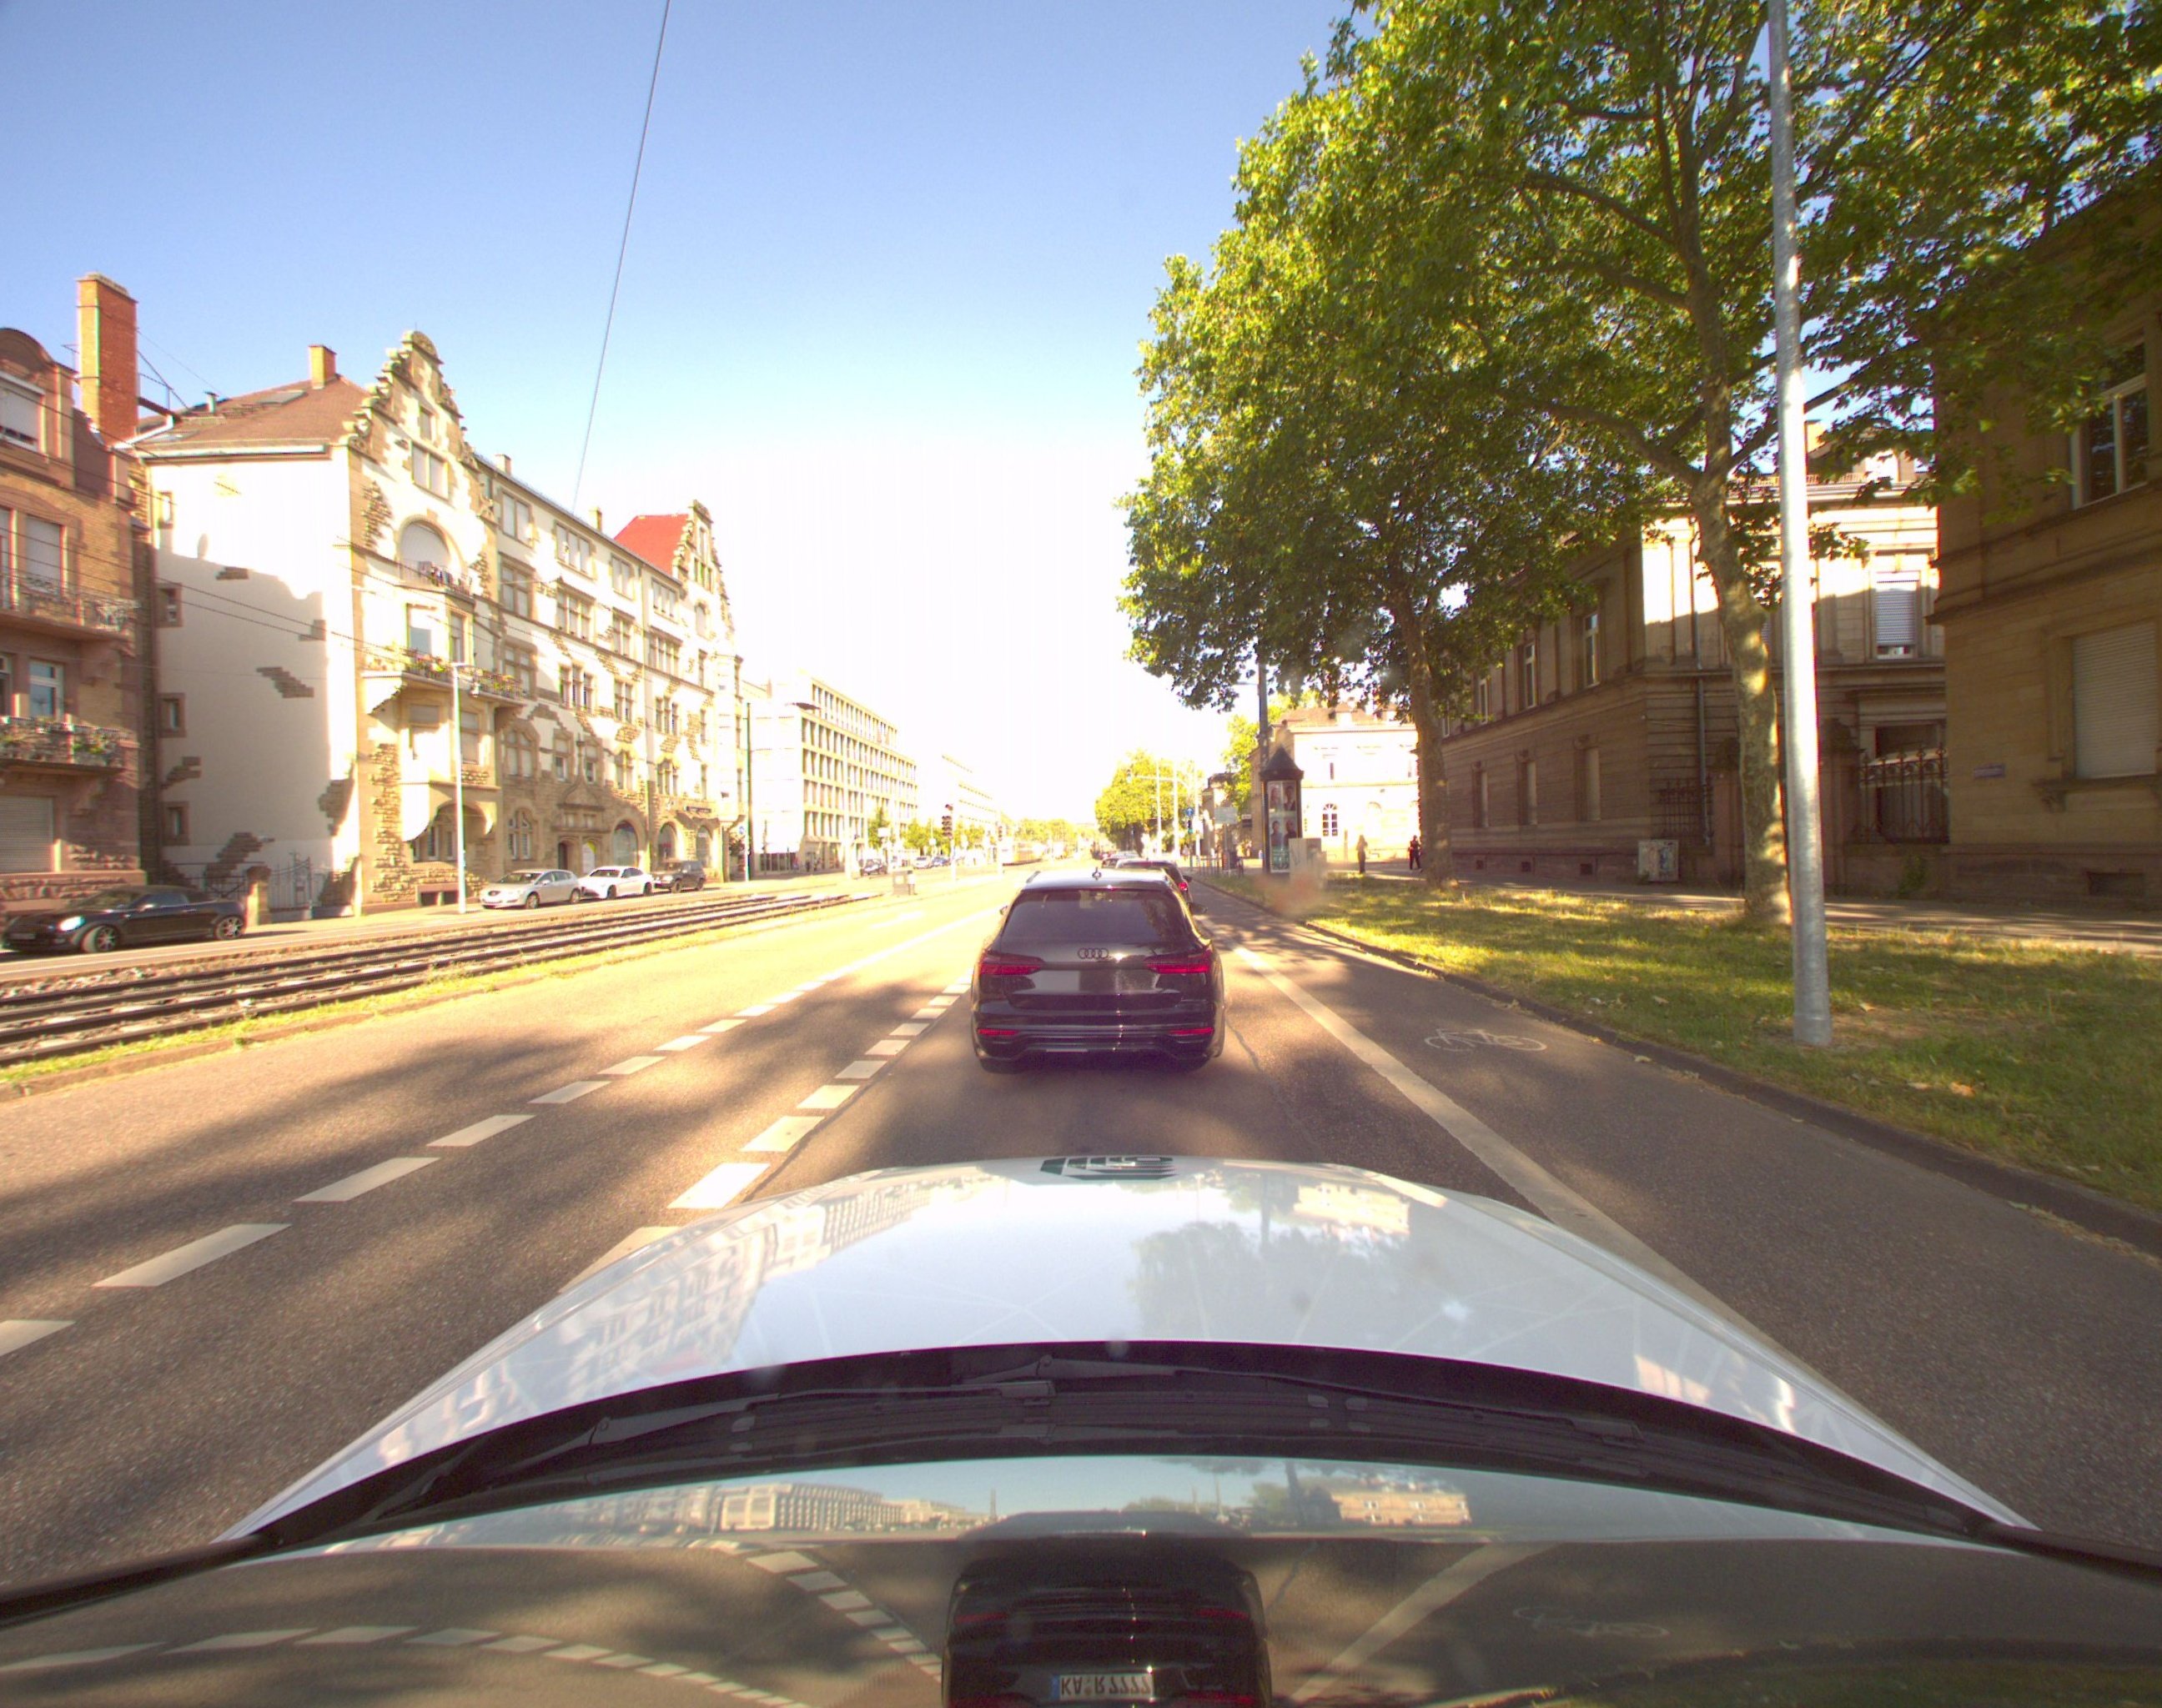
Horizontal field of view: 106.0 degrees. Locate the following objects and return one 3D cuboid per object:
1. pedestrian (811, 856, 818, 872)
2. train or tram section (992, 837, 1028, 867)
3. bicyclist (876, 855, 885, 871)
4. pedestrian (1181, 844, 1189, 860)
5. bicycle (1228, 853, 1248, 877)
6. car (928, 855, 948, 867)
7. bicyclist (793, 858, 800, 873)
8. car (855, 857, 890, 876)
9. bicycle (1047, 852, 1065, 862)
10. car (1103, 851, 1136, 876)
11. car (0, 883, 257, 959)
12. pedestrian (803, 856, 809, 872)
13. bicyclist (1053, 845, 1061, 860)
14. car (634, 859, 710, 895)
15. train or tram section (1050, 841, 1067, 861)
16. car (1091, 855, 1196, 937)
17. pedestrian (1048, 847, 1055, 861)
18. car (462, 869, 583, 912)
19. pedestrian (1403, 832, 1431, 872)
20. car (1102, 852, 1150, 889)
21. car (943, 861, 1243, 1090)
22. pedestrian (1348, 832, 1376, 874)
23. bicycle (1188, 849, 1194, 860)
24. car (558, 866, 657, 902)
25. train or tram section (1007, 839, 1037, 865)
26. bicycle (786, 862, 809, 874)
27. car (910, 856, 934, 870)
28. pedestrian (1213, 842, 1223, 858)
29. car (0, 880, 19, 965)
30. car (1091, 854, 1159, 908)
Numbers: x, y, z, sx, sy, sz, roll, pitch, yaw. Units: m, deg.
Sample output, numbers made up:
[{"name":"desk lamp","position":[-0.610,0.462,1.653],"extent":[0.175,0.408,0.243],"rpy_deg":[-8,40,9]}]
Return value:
[{"name":"pedestrian","position":[-30.716,1.145,93.811],"extent":[0.535,1.843,0.438],"rpy_deg":[-2,0,-36]},{"name":"train or tram section","position":[-8.933,-0.238,104.180],"extent":[2.802,3.489,13.211],"rpy_deg":[-2,0,2]},{"name":"bicyclist","position":[-21.138,0.945,85.880],"extent":[0.682,1.563,0.786],"rpy_deg":[-2,0,3]},{"name":"pedestrian","position":[10.749,-0.173,84.340],"extent":[0.679,1.660,0.758],"rpy_deg":[-2,0,0]},{"name":"bicycle","position":[7.379,0.511,38.265],"extent":[0.538,1.061,1.770],"rpy_deg":[-2,0,-1]},{"name":"car","position":[-18.606,0.866,105.878],"extent":[1.814,1.457,4.156],"rpy_deg":[-2,0,0]},{"name":"bicyclist","position":[-33.179,1.346,94.987],"extent":[0.644,1.686,0.573],"rpy_deg":[-2,0,-22]},{"name":"car","position":[-17.695,1.030,69.309],"extent":[1.814,1.457,4.164],"rpy_deg":[-2,0,-1]},{"name":"bicycle","position":[-3.056,0.327,97.812],"extent":[2.008,1.108,0.761],"rpy_deg":[-2,0,-14]},{"name":"car","position":[2.362,0.553,49.657],"extent":[1.895,1.486,4.147],"rpy_deg":[-1,0,3]},{"name":"car","position":[-21.536,1.440,18.563],"extent":[1.616,1.354,3.727],"rpy_deg":[1,0,1]},{"name":"pedestrian","position":[-31.508,1.149,93.332],"extent":[0.475,1.843,0.438],"rpy_deg":[-2,0,-36]},{"name":"bicyclist","position":[-2.906,-0.160,97.853],"extent":[0.757,1.818,0.761],"rpy_deg":[-2,0,-13]},{"name":"car","position":[-21.056,1.136,42.117],"extent":[1.711,1.675,4.217],"rpy_deg":[0,0,1]},{"name":"train or tram section","position":[-4.048,-0.622,150.417],"extent":[2.600,3.450,11.133],"rpy_deg":[-2,0,1]},{"name":"car","position":[1.234,0.768,16.897],"extent":[1.895,1.486,4.147],"rpy_deg":[-1,0,3]},{"name":"pedestrian","position":[-3.588,-0.009,99.391],"extent":[0.740,1.741,0.661],"rpy_deg":[-2,0,-12]},{"name":"car","position":[-21.163,1.334,31.112],"extent":[1.704,1.431,4.223],"rpy_deg":[0,0,0]},{"name":"pedestrian","position":[13.863,-0.071,33.630],"extent":[0.766,1.606,0.987],"rpy_deg":[-2,0,3]},{"name":"car","position":[1.917,0.683,35.007],"extent":[1.895,1.486,4.147],"rpy_deg":[-1,0,3]},{"name":"car","position":[0.170,0.792,7.260],"extent":[1.895,1.422,4.147],"rpy_deg":[-1,0,3]},{"name":"pedestrian","position":[11.677,-0.054,33.862],"extent":[0.766,1.709,1.043],"rpy_deg":[-2,0,3]},{"name":"bicycle","position":[11.378,0.039,84.347],"extent":[0.433,1.145,1.340],"rpy_deg":[-2,0,1]},{"name":"car","position":[-21.194,1.299,36.693],"extent":[1.711,1.423,4.656],"rpy_deg":[0,0,1]},{"name":"train or tram section","position":[-8.367,-0.292,117.367],"extent":[2.802,3.489,13.211],"rpy_deg":[-2,0,2]},{"name":"bicycle","position":[-33.068,1.612,95.018],"extent":[2.391,1.215,0.573],"rpy_deg":[-2,0,-22]},{"name":"car","position":[-18.219,1.037,93.693],"extent":[1.814,1.457,4.540],"rpy_deg":[-2,0,0]},{"name":"pedestrian","position":[16.334,-0.422,97.185],"extent":[0.975,1.865,0.827],"rpy_deg":[-2,0,2]},{"name":"car","position":[-21.795,1.326,13.700],"extent":[1.849,1.623,4.504],"rpy_deg":[1,0,1]},{"name":"car","position":[1.323,0.764,24.742],"extent":[1.895,1.486,4.147],"rpy_deg":[-1,0,3]}]
